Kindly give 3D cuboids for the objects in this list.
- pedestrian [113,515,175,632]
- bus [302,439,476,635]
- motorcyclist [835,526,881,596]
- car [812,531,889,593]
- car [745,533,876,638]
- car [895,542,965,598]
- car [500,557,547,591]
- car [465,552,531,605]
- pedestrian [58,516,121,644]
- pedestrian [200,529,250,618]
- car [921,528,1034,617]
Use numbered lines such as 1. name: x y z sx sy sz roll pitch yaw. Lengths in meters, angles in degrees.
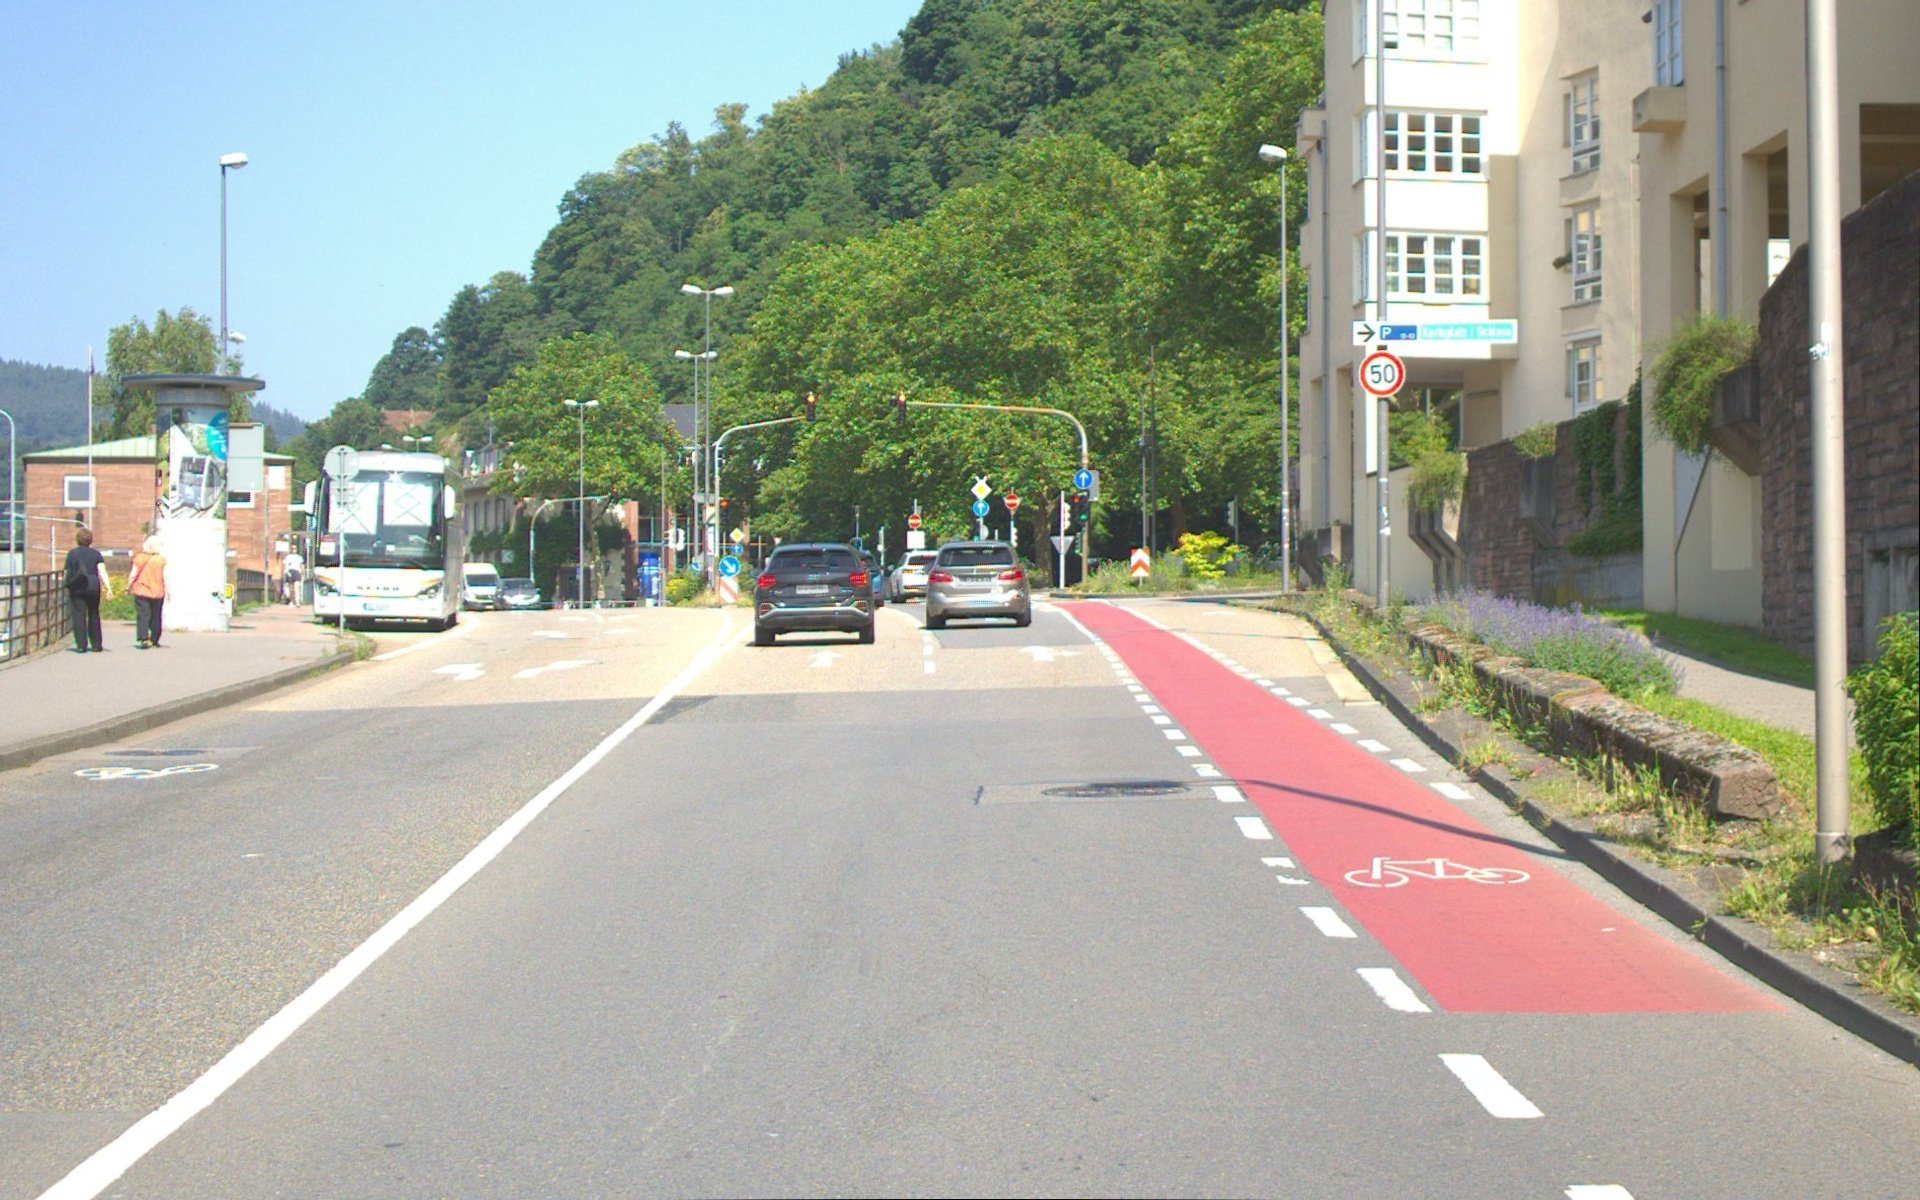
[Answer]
1. pedestrian: -11.347 -0.368 47.828 0.702 1.615 0.817 0 0 -4
2. bus: -12.013 -1.257 73.400 2.956 3.788 13.246 0 0 -6
3. motorcyclist: -2.528 -0.962 84.775 1.075 1.678 1.156 -2 1 -2
4. car: -2.899 -1.000 90.477 1.866 1.557 4.001 -1 1 -4
5. car: -2.214 -0.217 51.925 1.869 1.508 4.151 1 0 -1
6. car: -0.889 -0.860 98.937 1.785 1.527 4.737 -2 0 -3
7. car: -19.636 -1.177 154.616 1.993 1.427 4.168 -2 1 -8
8. car: -23.527 -1.101 174.889 2.383 2.567 6.057 -2 1 -16
9. pedestrian: -11.705 -0.275 46.243 0.683 1.703 0.773 0 0 -3
10. pedestrian: -14.834 -0.536 69.401 0.892 1.790 1.041 0 0 -7
11. car: 0.275 -0.486 61.195 1.888 1.516 4.306 1 0 -1
